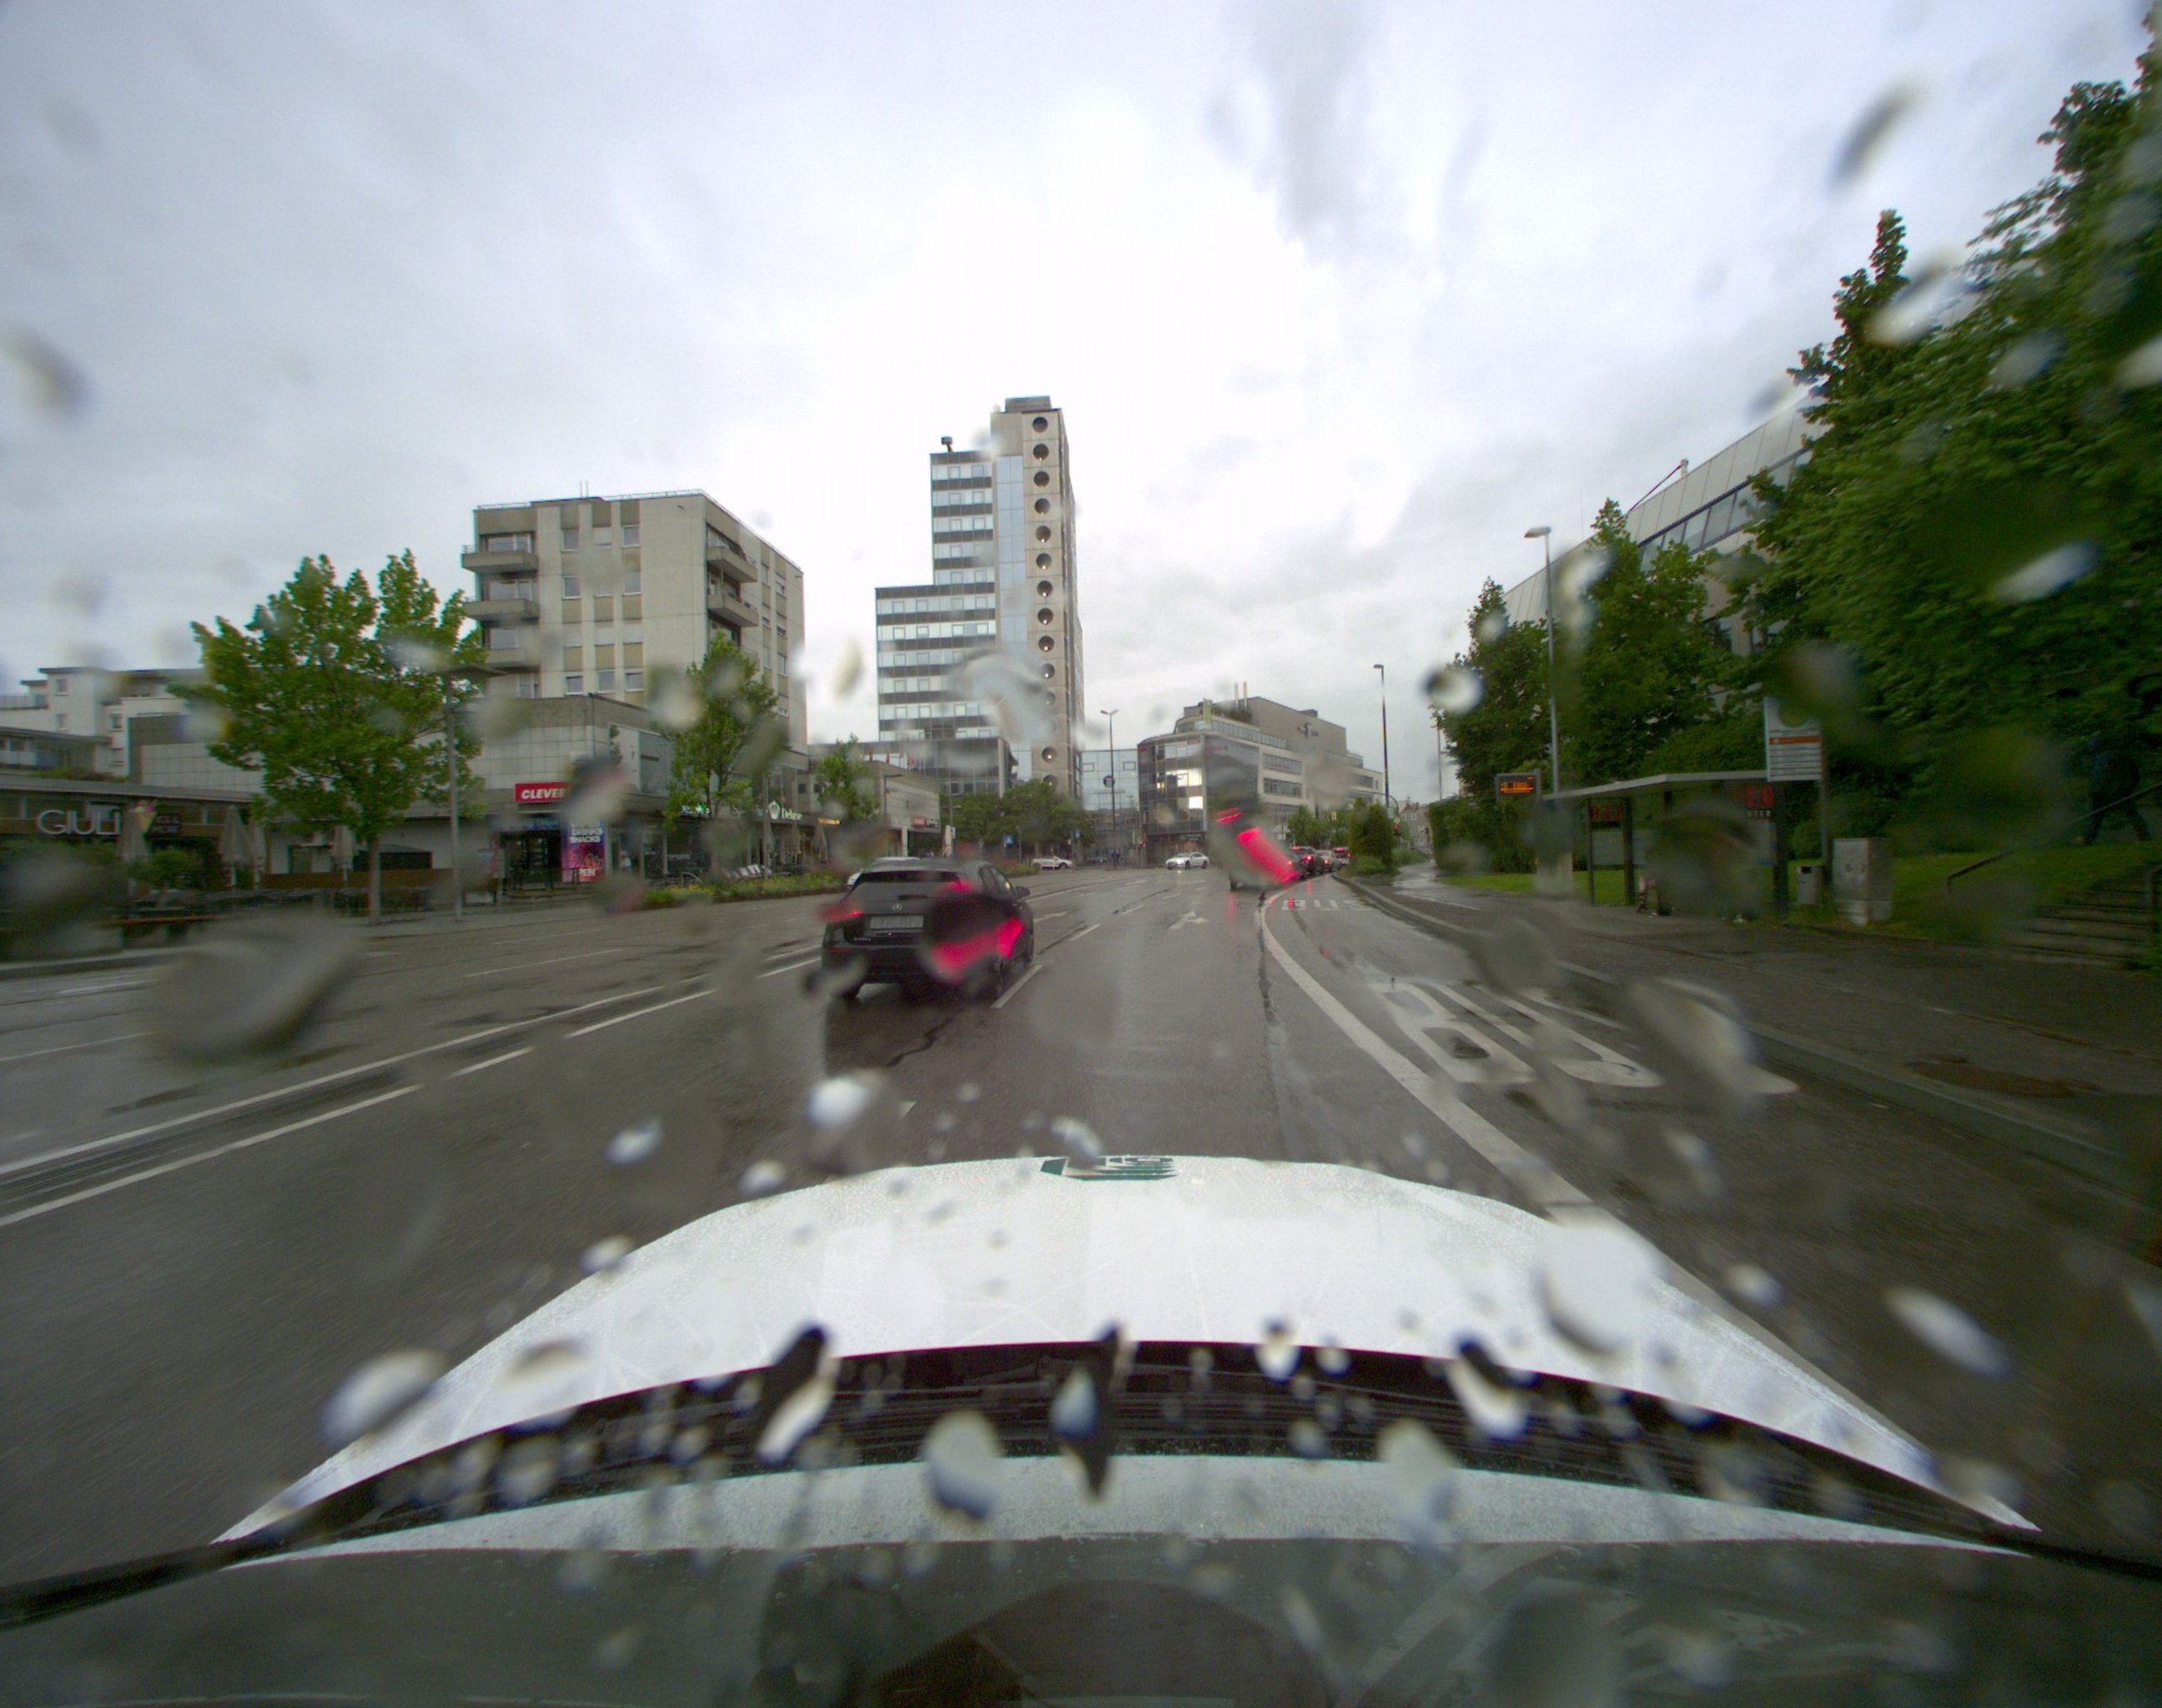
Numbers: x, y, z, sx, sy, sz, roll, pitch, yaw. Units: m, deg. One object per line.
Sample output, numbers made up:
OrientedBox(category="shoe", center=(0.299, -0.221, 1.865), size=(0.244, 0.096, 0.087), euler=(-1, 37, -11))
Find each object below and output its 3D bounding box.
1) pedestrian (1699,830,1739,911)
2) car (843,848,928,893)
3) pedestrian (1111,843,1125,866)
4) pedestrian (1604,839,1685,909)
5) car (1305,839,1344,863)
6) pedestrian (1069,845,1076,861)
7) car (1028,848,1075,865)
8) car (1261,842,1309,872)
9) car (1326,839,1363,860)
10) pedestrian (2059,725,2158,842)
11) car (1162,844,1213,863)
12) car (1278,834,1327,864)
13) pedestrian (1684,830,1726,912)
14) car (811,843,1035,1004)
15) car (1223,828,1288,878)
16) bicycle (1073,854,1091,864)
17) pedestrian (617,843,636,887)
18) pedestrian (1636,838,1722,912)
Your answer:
OrientedBox(category="pedestrian", center=(11.183, 0.283, 14.271), size=(0.546, 1.365, 0.406), euler=(-4, 0, -43))
OrientedBox(category="car", center=(-6.950, 0.541, 29.363), size=(1.691, 1.466, 4.110), euler=(-3, 0, 5))
OrientedBox(category="pedestrian", center=(3.292, 0.023, 72.773), size=(1.159, 2.013, 1.327), euler=(-1, 0, -2))
OrientedBox(category="pedestrian", center=(10.982, 0.377, 15.906), size=(1.025, 1.281, 0.693), euler=(-4, 0, 4))
OrientedBox(category="car", center=(15.846, -0.212, 52.883), size=(1.618, 1.448, 4.295), euler=(-1, 1, 28))
OrientedBox(category="pedestrian", center=(-1.110, -0.110, 104.066), size=(0.758, 2.013, 0.716), euler=(-1, 0, 8))
OrientedBox(category="car", center=(-2.836, 0.249, 79.125), size=(4.166, 1.595, 1.875), euler=(-1, 0, 9))
OrientedBox(category="car", center=(10.133, 0.122, 40.318), size=(1.617, 1.386, 4.540), euler=(-1, 0, 23))
OrientedBox(category="car", center=(18.896, -0.338, 58.342), size=(1.893, 1.400, 3.479), euler=(-2, 1, 27))
OrientedBox(category="pedestrian", center=(16.435, -1.109, 13.041), size=(0.670, 1.797, 0.674), euler=(-1, -1, 1))
OrientedBox(category="car", center=(8.979, -0.062, 68.345), size=(1.824, 1.460, 4.838), euler=(-1, 0, 42))
OrientedBox(category="car", center=(12.698, -0.312, 46.551), size=(1.884, 1.620, 4.361), euler=(-1, 0, 26))
OrientedBox(category="pedestrian", center=(10.661, 0.287, 13.907), size=(0.546, 1.365, 0.406), euler=(-4, 0, -42))
OrientedBox(category="car", center=(-1.621, 0.648, 9.711), size=(1.809, 1.529, 3.814), euler=(-1, 1, 1))
OrientedBox(category="car", center=(7.271, -0.041, 33.578), size=(1.979, 1.894, 4.610), euler=(-1, 0, 20))
OrientedBox(category="bicycle", center=(0.158, 0.653, 109.965), size=(2.264, 1.247, 0.677), euler=(-2, -1, 3))
OrientedBox(category="pedestrian", center=(-19.432, 0.452, 34.813), size=(0.422, 1.848, 0.503), euler=(-1, 0, 16))
OrientedBox(category="pedestrian", center=(11.108, 0.379, 15.153), size=(1.025, 1.281, 0.693), euler=(-4, 0, 4))
